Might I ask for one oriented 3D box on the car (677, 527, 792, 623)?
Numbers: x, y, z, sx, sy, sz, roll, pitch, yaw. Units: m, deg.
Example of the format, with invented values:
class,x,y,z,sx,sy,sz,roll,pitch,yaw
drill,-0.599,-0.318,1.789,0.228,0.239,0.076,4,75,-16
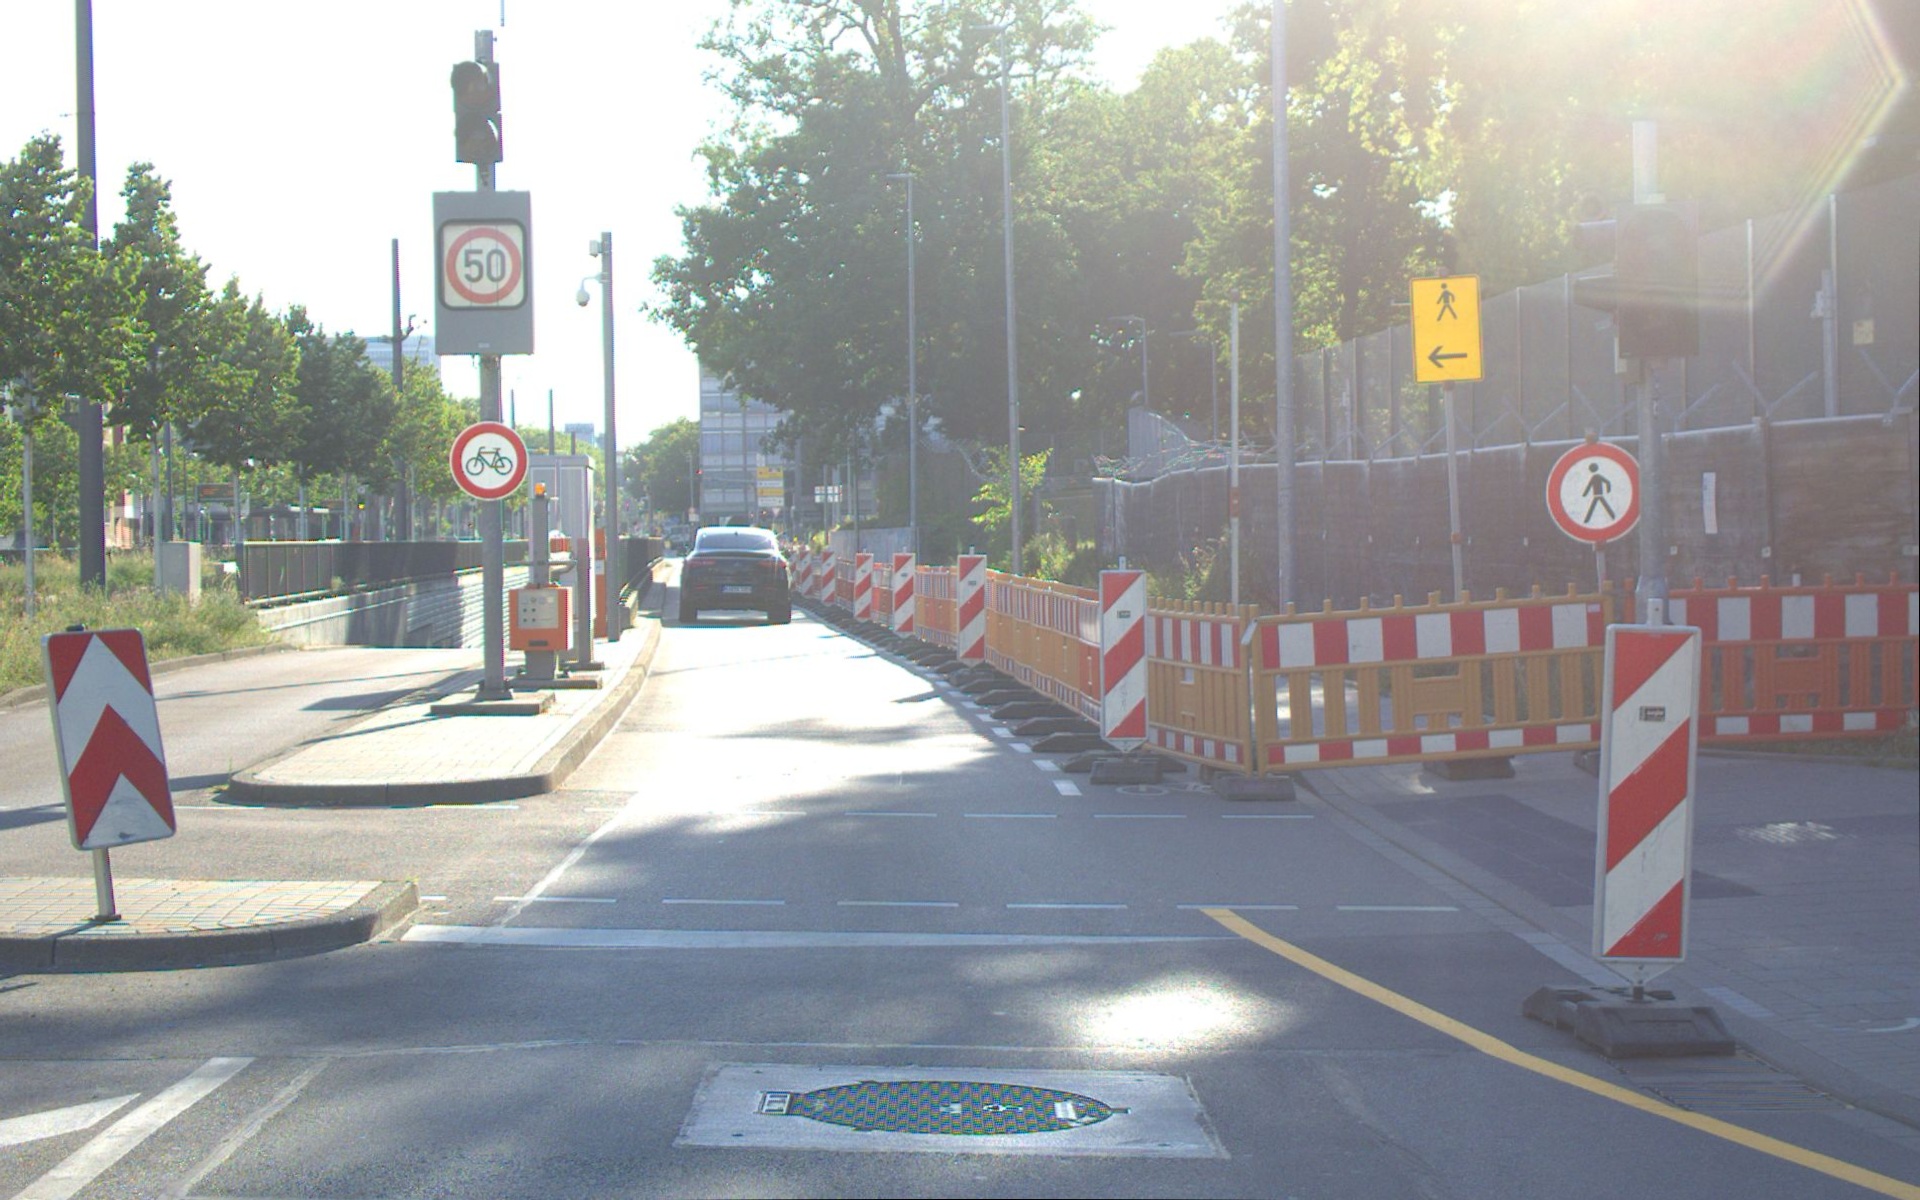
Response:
class,x,y,z,sx,sy,sz,roll,pitch,yaw
car,-4.111,-0.461,62.725,2.005,1.653,4.001,1,1,-4
